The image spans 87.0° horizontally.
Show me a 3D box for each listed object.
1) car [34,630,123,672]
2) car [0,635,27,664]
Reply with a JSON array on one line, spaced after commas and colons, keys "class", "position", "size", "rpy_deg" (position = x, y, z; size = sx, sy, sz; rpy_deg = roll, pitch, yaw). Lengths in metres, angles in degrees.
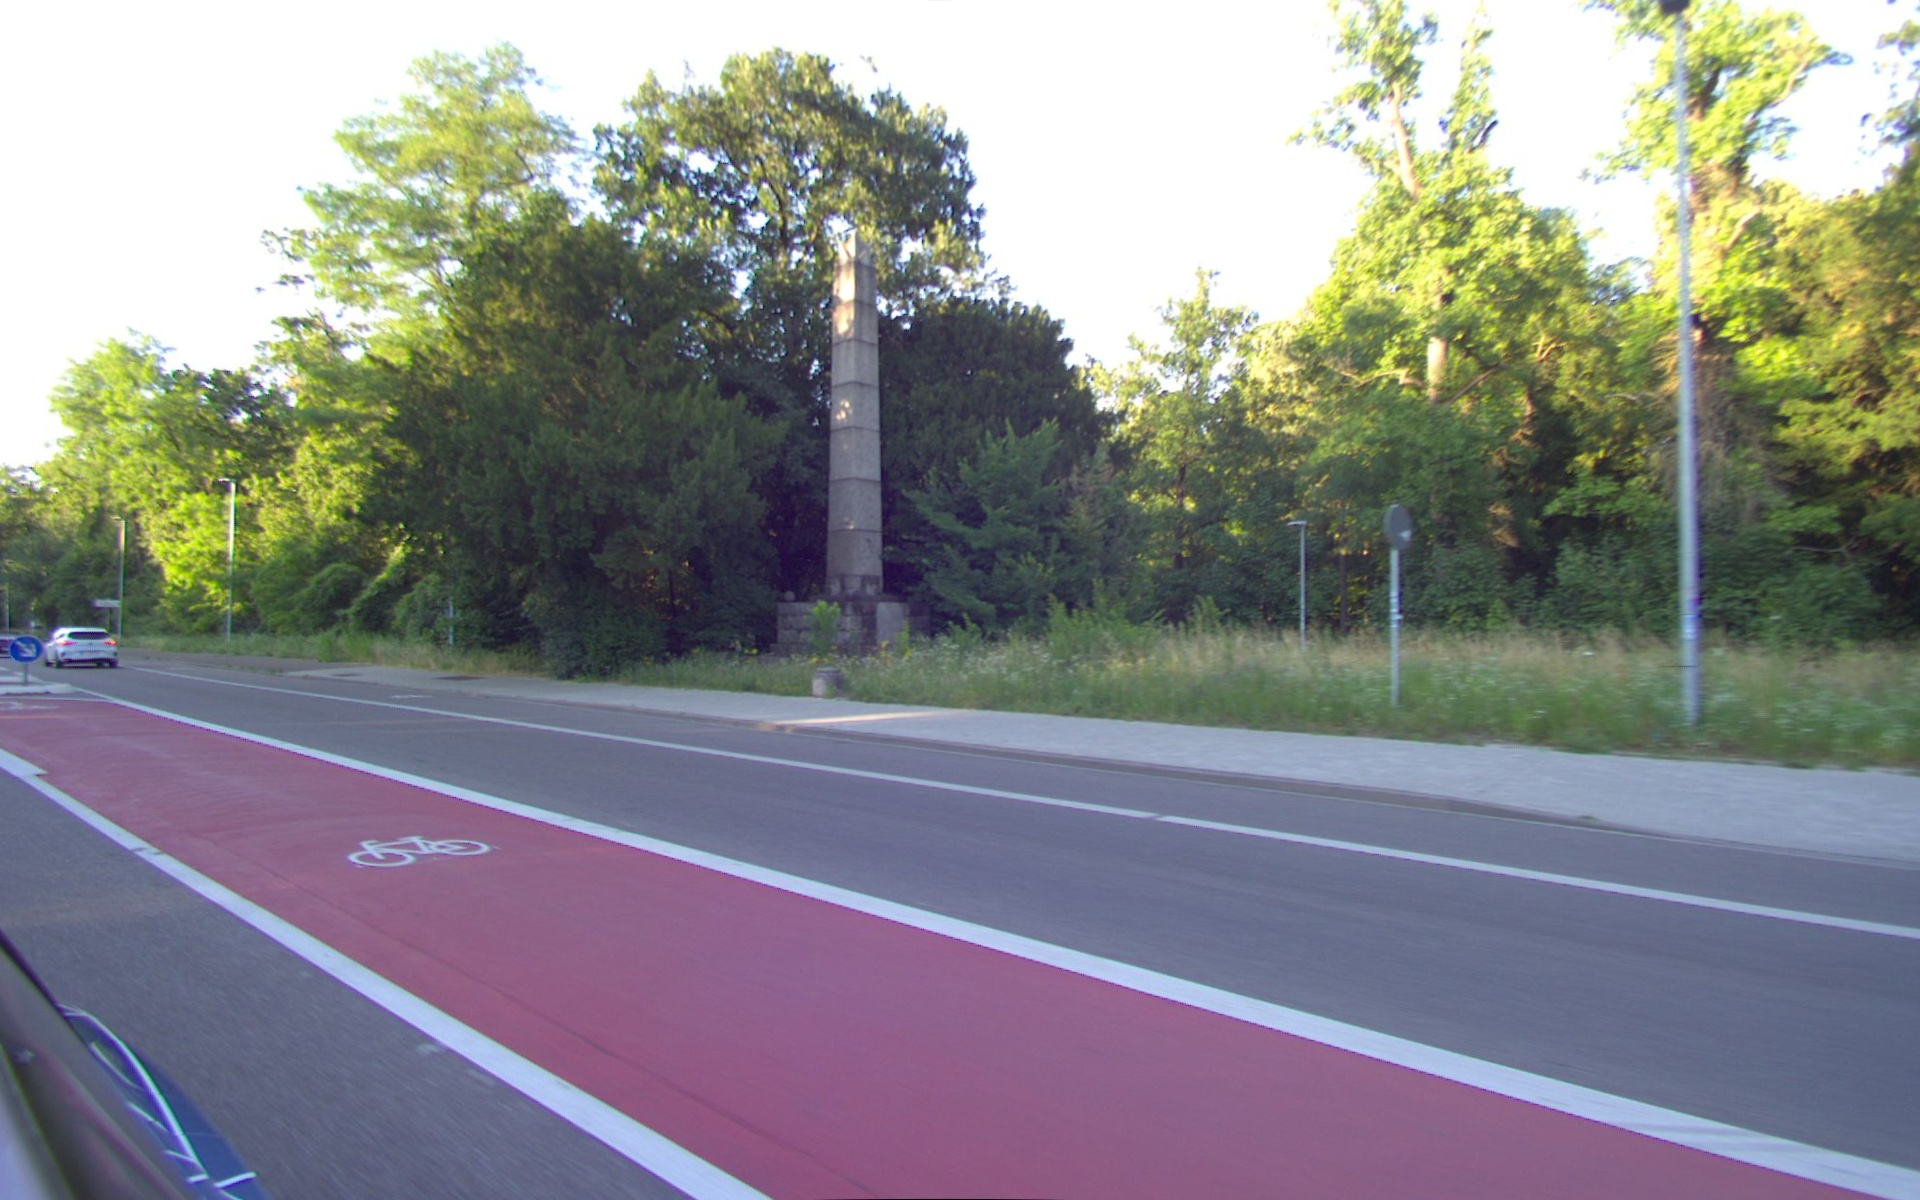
[{"class": "car", "position": [-32.009, 1.826, 36.719], "size": [4.177, 1.425, 1.828], "rpy_deg": [-1, -3, 40]}, {"class": "car", "position": [-45.998, 2.365, 48.284], "size": [3.997, 1.316, 1.731], "rpy_deg": [-1, -2, 40]}]
